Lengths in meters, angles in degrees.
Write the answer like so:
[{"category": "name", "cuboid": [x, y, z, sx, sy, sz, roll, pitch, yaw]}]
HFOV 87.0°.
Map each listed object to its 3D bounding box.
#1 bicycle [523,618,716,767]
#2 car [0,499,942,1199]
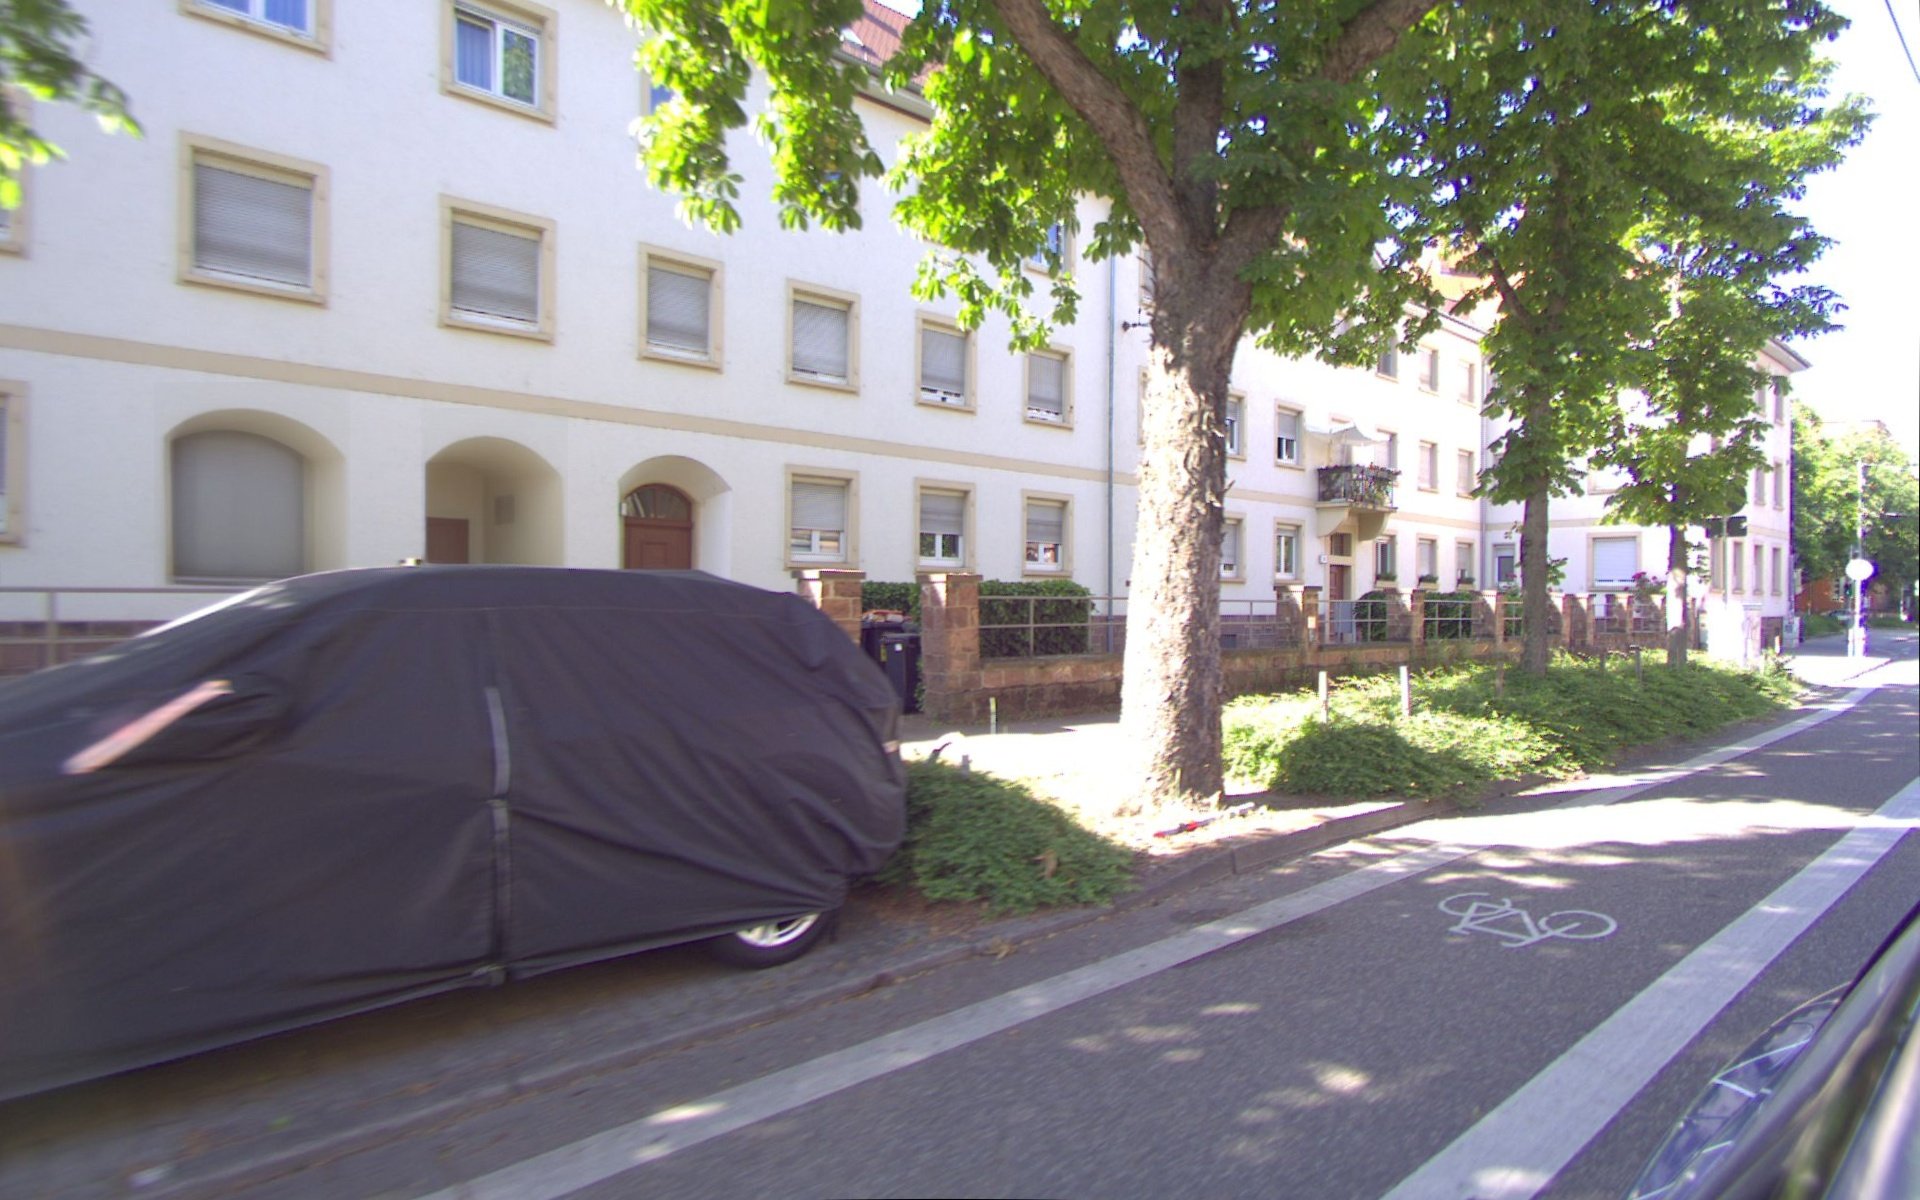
[{"category": "bicycle", "cuboid": [-3.122, 0.808, 9.395, 1.646, 1.254, 0.448, 0, 0, -42]}, {"category": "car", "cuboid": [-2.314, 0.652, 3.884, 4.399, 1.789, 1.746, 0, -1, -41]}]
